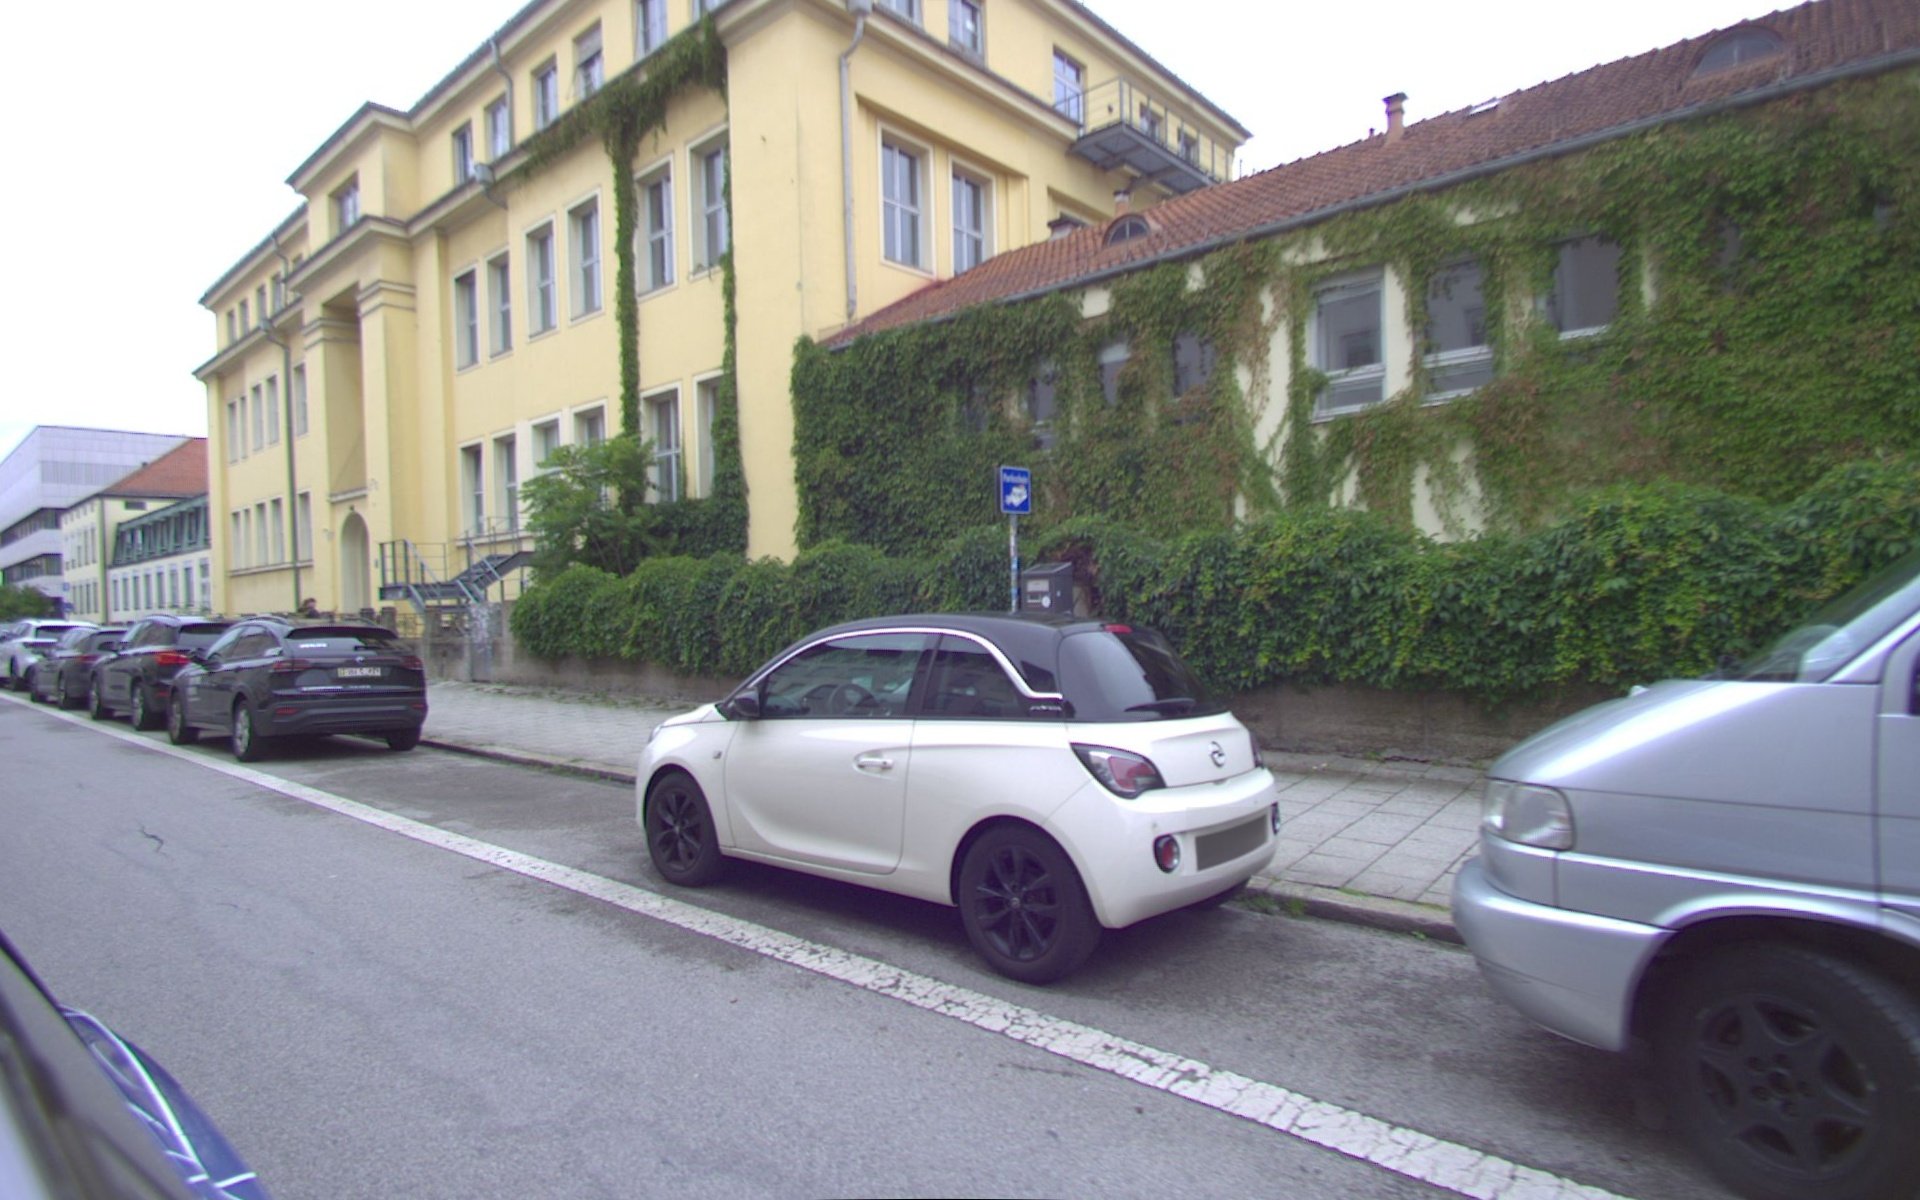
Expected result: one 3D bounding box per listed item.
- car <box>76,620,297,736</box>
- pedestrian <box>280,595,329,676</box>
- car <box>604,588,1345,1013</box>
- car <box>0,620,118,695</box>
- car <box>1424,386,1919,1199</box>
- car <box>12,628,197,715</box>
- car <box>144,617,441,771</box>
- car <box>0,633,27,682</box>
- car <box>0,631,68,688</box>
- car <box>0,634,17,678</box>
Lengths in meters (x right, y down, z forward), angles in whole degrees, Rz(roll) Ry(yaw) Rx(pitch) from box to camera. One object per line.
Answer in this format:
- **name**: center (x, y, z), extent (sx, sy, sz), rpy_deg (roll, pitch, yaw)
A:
- **car**: center (-11.703, 1.095, 15.224), extent (4.270, 1.514, 1.751), rpy_deg (-2, -3, 40)
- **pedestrian**: center (-15.224, 0.814, 23.499), extent (0.782, 1.838, 0.766), rpy_deg (-2, -1, 44)
- **car**: center (-0.109, 0.745, 5.189), extent (3.556, 1.420, 1.650), rpy_deg (-2, -3, 40)
- **car**: center (-21.871, 1.362, 24.221), extent (4.294, 1.653, 1.764), rpy_deg (-2, -4, 38)
- **car**: center (3.724, 0.463, 1.884), extent (4.878, 1.812, 1.873), rpy_deg (-2, -5, 41)
- **car**: center (-15.976, 1.285, 18.828), extent (4.596, 1.419, 1.755), rpy_deg (-2, -4, 39)
- **car**: center (-7.902, 1.008, 11.835), extent (4.216, 1.492, 1.700), rpy_deg (-2, -4, 40)
- **car**: center (-29.740, 1.733, 30.684), extent (3.777, 1.450, 1.716), rpy_deg (-2, -3, 41)
- **car**: center (-25.998, 1.615, 27.771), extent (3.912, 1.457, 1.591), rpy_deg (-2, -4, 38)
- **car**: center (-33.509, 1.889, 34.399), extent (4.110, 1.457, 1.668), rpy_deg (-2, -3, 41)
